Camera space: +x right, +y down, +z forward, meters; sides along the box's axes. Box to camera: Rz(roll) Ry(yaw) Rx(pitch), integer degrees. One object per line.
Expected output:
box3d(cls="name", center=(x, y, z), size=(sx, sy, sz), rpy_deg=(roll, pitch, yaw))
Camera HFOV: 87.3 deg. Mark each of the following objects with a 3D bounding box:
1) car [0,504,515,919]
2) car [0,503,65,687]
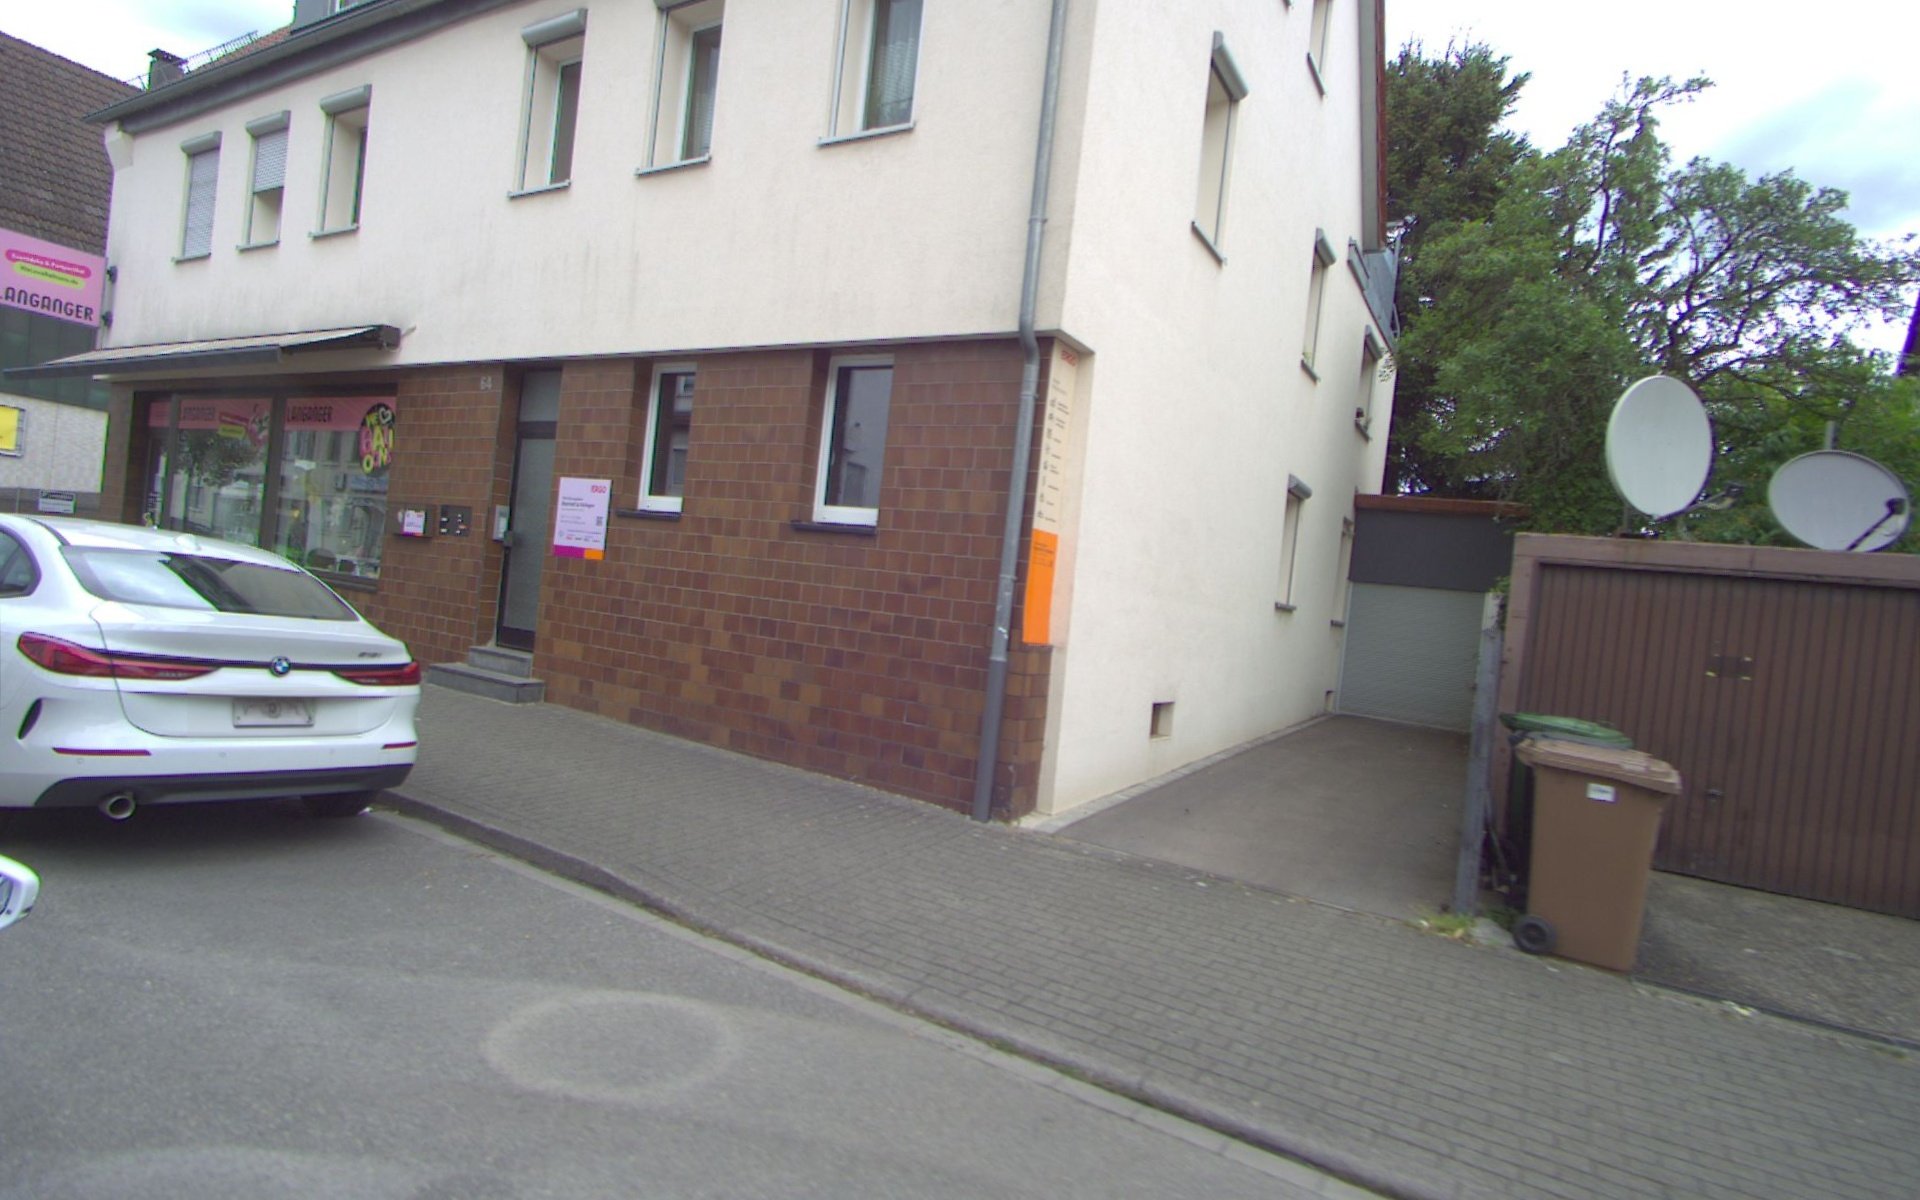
box3d(cls="car", center=(-4.662, 0.292, 5.497), size=(4.259, 1.463, 1.834), rpy_deg=(7, -1, 31))
box3d(cls="car", center=(-9.671, -0.286, 8.558), size=(4.040, 1.463, 1.835), rpy_deg=(7, -1, 30))
